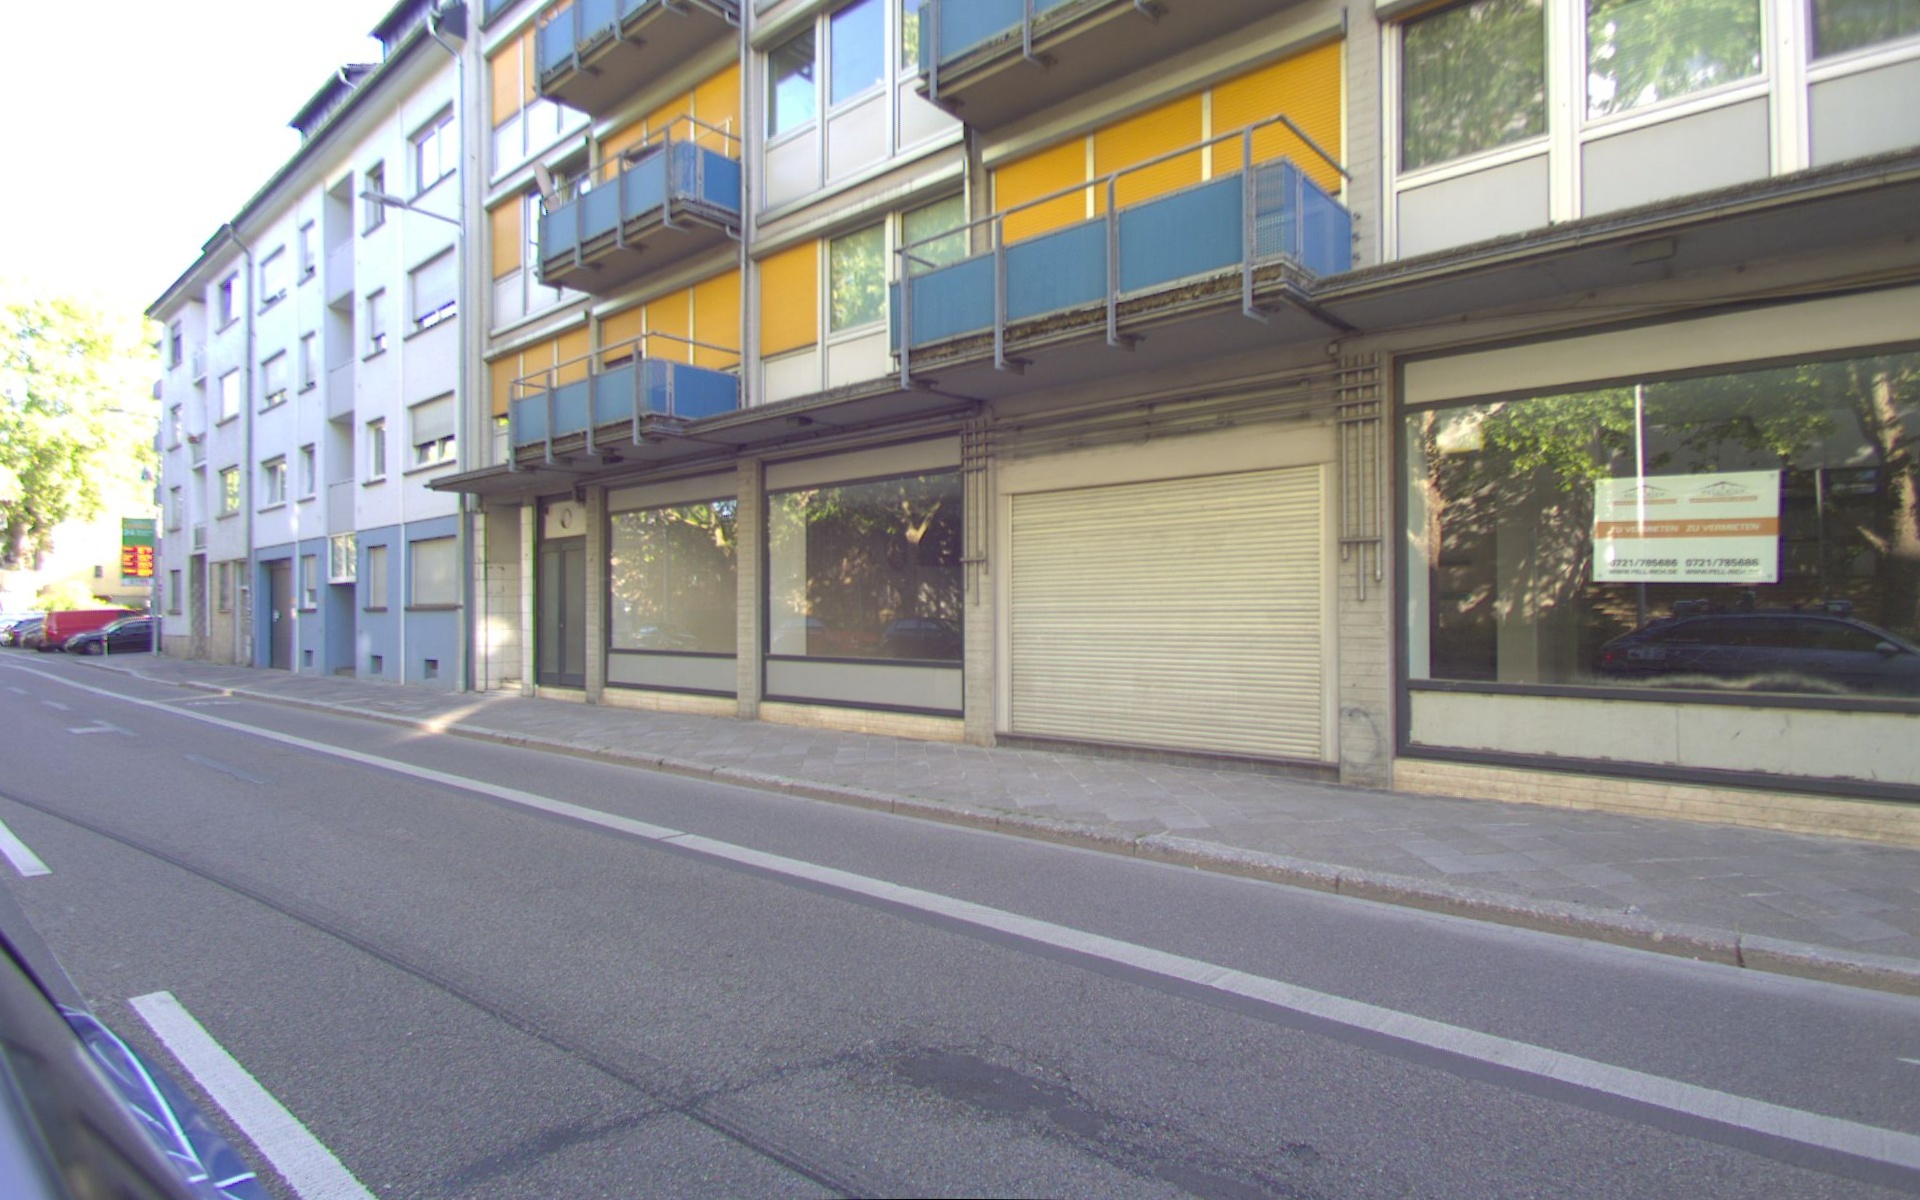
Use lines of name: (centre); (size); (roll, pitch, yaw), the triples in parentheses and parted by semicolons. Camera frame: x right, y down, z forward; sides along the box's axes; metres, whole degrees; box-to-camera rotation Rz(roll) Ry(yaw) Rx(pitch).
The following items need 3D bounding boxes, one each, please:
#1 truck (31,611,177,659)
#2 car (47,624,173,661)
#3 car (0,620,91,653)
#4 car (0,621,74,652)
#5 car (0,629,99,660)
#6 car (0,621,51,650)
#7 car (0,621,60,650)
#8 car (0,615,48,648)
truck: (-40.351, 1.591, 47.829); (1.998, 2.036, 5.024); (-1, 0, 40)
car: (-36.863, 1.802, 43.967); (1.780, 1.404, 3.947); (-1, 0, 39)
car: (-50.823, 1.977, 55.961); (1.699, 1.640, 3.952); (-1, 0, 35)
car: (-52.884, 2.045, 57.465); (1.656, 1.599, 3.615); (-1, 0, 35)
car: (-43.616, 2.082, 47.990); (1.904, 1.282, 3.983); (-1, 0, 39)
car: (-56.888, 2.130, 60.386); (1.740, 1.600, 3.685); (-1, 0, 35)
car: (-55.068, 2.089, 58.994); (1.715, 1.594, 3.660); (-1, 0, 35)
car: (-59.733, 1.976, 63.803); (1.693, 1.953, 3.224); (-1, 0, 43)
